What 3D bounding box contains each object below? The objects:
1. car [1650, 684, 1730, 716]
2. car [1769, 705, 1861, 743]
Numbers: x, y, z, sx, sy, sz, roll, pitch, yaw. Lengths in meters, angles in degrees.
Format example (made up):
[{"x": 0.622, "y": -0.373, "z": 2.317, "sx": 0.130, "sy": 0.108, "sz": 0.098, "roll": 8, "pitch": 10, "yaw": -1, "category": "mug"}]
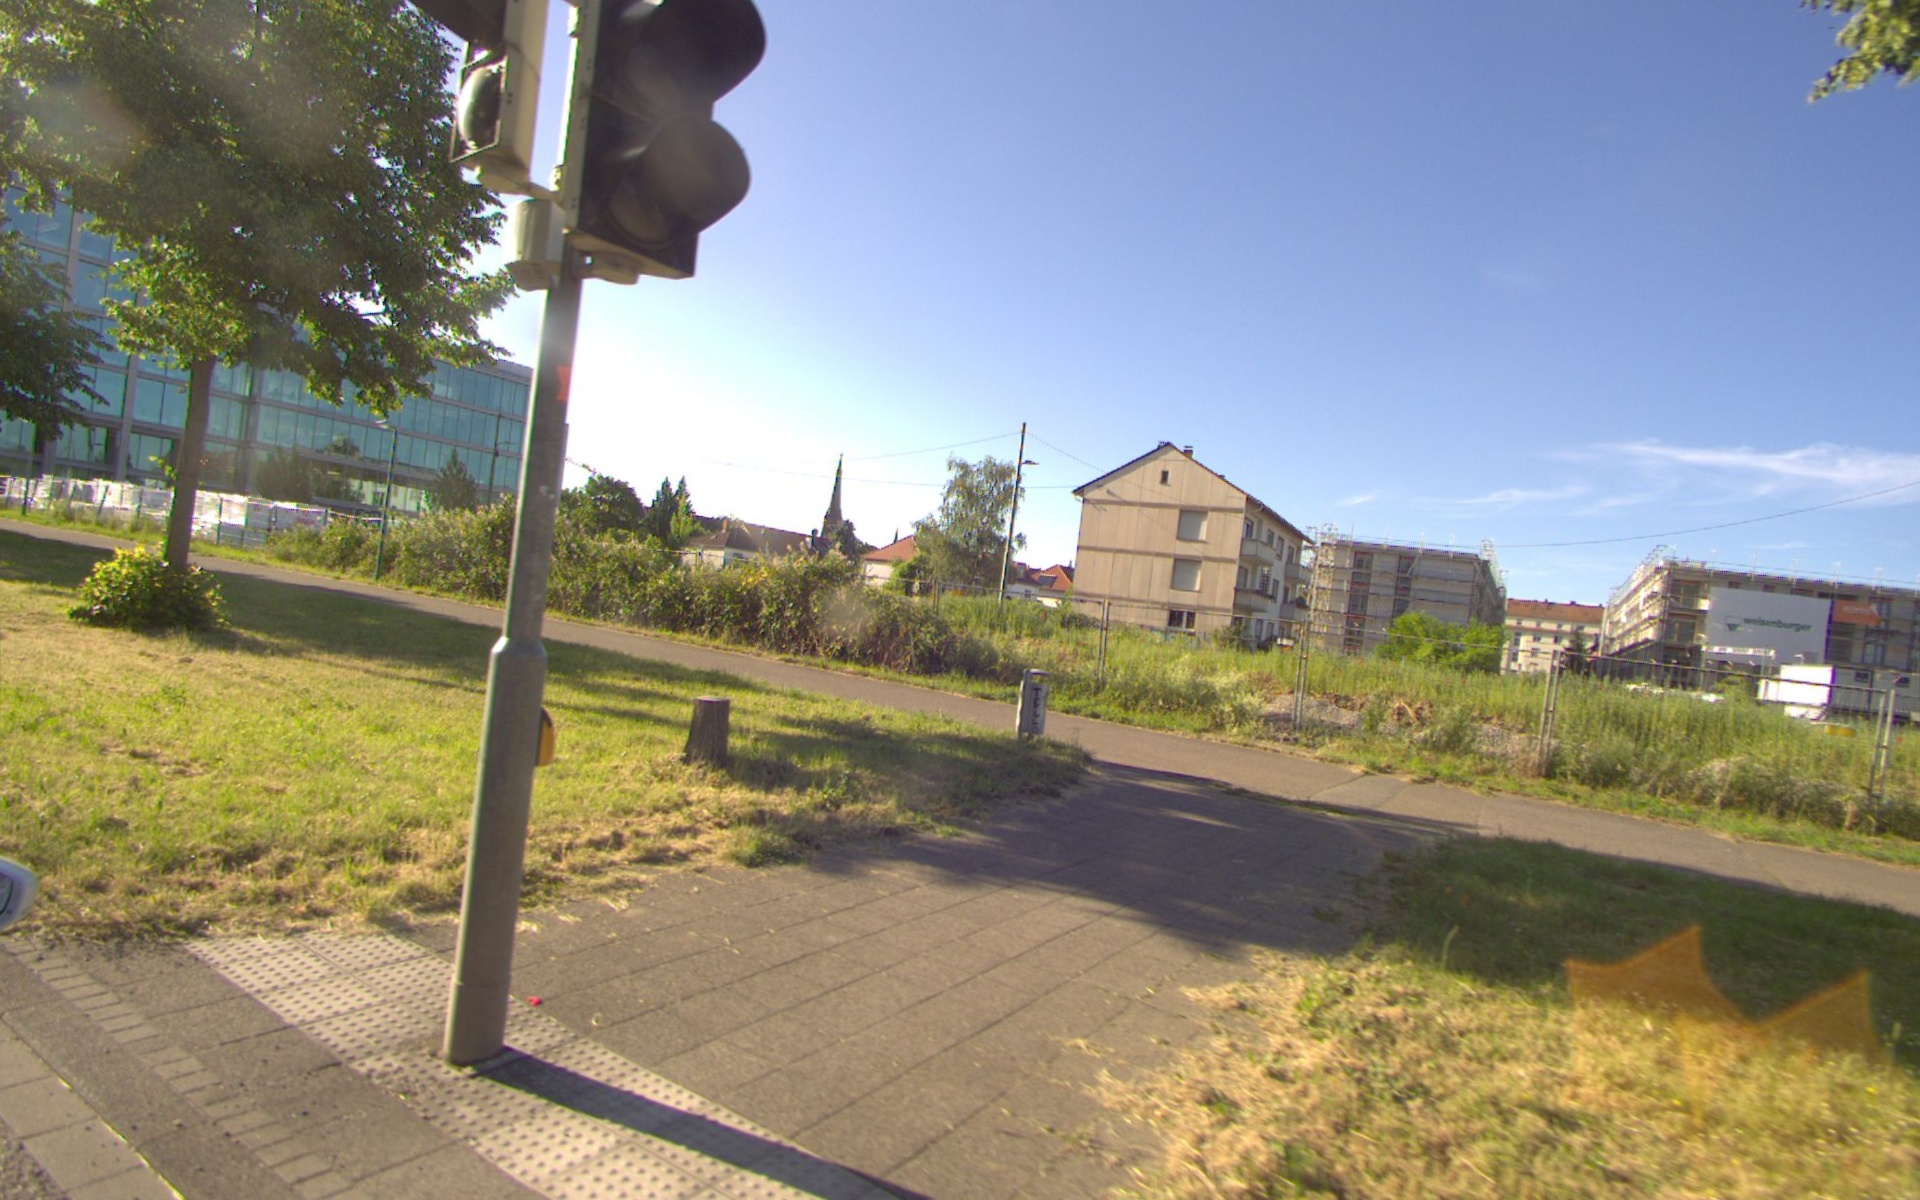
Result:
[{"x": 49.951, "y": 6.814, "z": 68.900, "sx": 3.924, "sy": 1.637, "sz": 1.834, "roll": 6, "pitch": -1, "yaw": 16, "category": "car"}, {"x": 49.035, "y": 7.111, "z": 57.758, "sx": 3.588, "sy": 1.637, "sz": 1.623, "roll": 5, "pitch": -2, "yaw": 26, "category": "car"}]
